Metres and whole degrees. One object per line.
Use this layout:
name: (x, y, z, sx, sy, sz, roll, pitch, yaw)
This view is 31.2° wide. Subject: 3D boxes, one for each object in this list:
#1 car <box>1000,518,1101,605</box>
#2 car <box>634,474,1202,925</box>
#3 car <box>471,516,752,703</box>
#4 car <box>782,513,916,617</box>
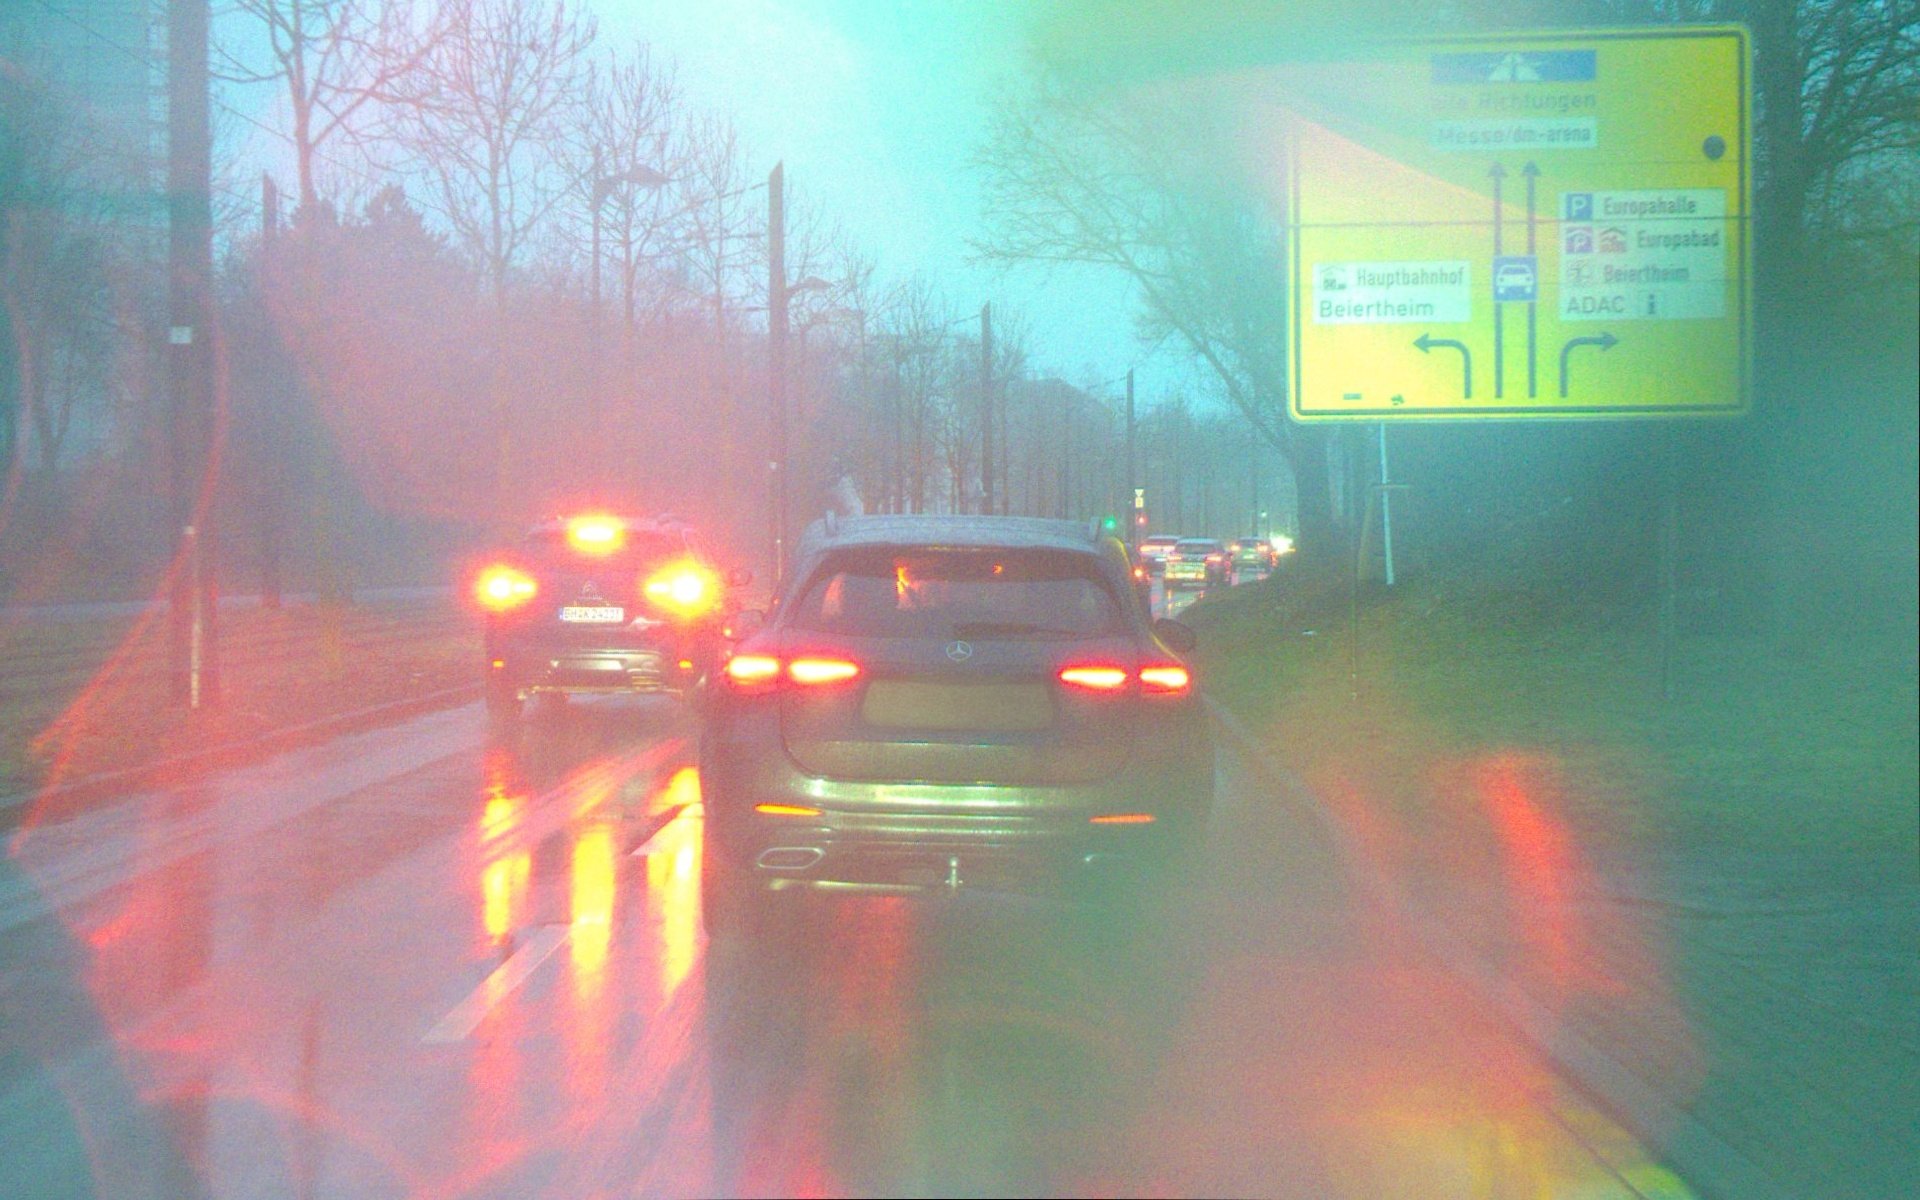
car: (1.690, -0.726, 63.194, 1.709, 1.552, 3.996, 0, 1, 4)
car: (-0.120, 0.298, 14.164, 1.998, 1.578, 4.000, 1, 2, 1)
car: (-2.887, 0.025, 29.282, 1.880, 1.454, 4.000, 0, 2, 1)
car: (-1.757, -0.597, 55.675, 1.880, 1.588, 4.000, 0, 2, 2)
